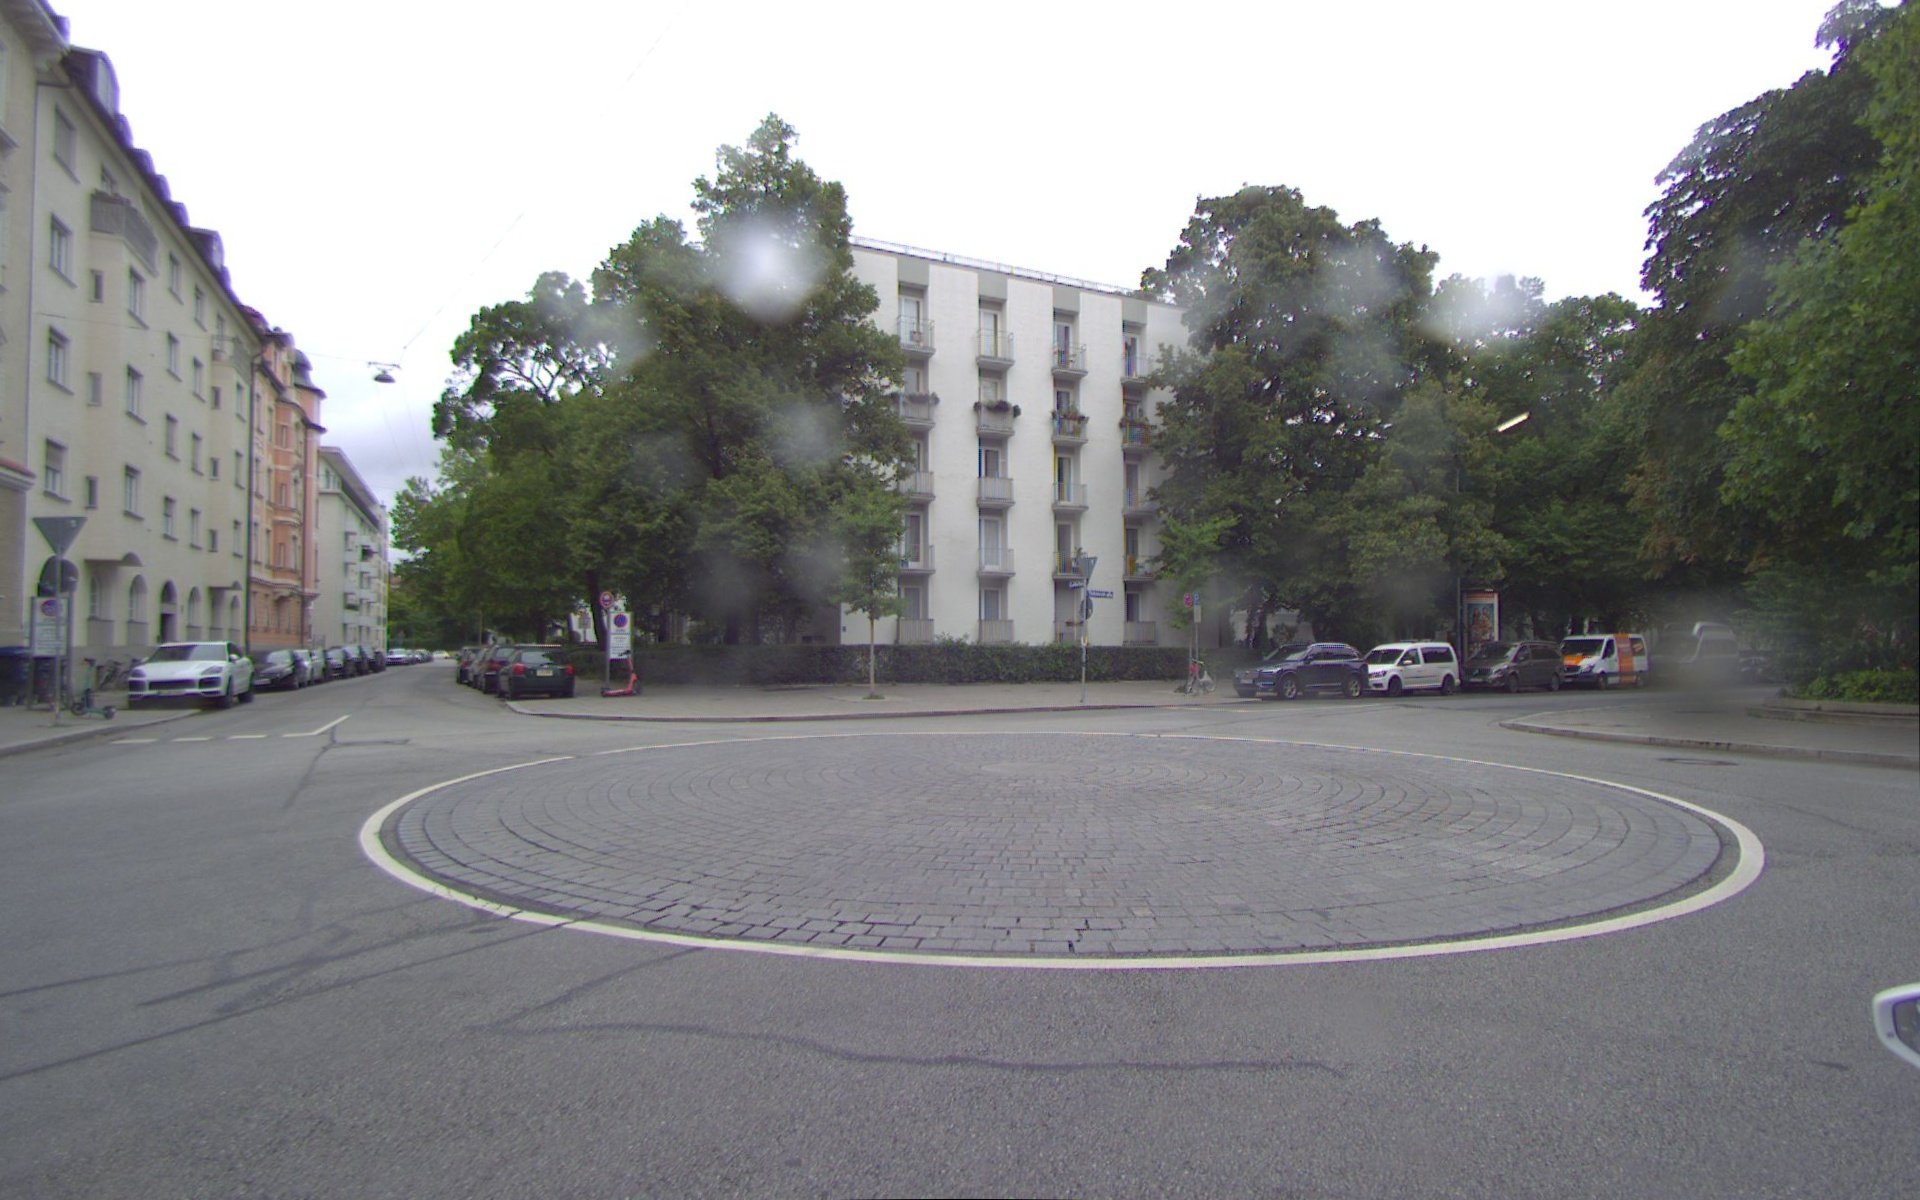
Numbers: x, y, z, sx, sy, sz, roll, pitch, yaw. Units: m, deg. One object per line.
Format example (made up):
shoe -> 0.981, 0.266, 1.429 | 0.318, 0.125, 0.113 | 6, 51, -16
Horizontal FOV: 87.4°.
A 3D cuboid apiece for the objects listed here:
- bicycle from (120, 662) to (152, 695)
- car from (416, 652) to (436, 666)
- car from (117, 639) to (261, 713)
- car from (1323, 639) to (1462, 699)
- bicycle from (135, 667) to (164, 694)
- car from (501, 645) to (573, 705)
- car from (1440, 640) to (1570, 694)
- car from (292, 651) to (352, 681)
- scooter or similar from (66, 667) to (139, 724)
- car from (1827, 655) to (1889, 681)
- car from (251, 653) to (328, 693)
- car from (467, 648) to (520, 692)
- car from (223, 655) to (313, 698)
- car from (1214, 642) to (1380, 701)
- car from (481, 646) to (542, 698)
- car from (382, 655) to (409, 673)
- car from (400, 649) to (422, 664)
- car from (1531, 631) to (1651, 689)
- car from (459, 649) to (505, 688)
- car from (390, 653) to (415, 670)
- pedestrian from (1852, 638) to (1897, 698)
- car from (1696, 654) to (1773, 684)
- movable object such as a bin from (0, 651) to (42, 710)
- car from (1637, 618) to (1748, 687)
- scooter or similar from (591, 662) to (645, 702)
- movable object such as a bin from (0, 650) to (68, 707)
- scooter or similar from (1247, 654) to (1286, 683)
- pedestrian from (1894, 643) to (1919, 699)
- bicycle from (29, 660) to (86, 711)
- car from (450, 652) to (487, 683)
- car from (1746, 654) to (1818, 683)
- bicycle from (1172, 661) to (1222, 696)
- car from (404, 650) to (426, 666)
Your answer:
bicycle -> -28.216, 2.668, 34.412 | 0.647, 1.083, 1.798 | 2, -3, -34
car -> -66.738, 7.382, 125.550 | 1.927, 1.659, 3.975 | 1, -3, -26
car -> -19.566, 1.876, 25.736 | 1.974, 1.697, 4.957 | 2, -3, -27
car -> 14.986, 2.348, 34.757 | 4.804, 1.928, 2.073 | 2, -3, -32
bicycle -> -29.721, 2.933, 36.829 | 0.647, 0.914, 1.798 | 2, -3, -34
car -> -12.209, 2.102, 28.898 | 1.654, 1.548, 3.652 | -1, -2, -27
car -> 20.867, 2.561, 38.390 | 5.609, 1.932, 2.014 | 2, -5, -35
car -> -30.688, 3.157, 48.443 | 1.974, 1.393, 4.153 | 2, -3, -27
scooter or similar -> -17.785, 1.967, 20.834 | 1.320, 1.123, 0.542 | -1, -3, 20
car -> 54.429, 4.081, 60.856 | 4.090, 1.506, 1.980 | 2, -3, -36
car -> -26.295, 2.822, 39.534 | 1.974, 1.468, 4.153 | 2, -3, -27
car -> -17.406, 2.559, 37.431 | 1.654, 1.476, 3.652 | -1, -2, -27
car -> -24.177, 2.644, 35.261 | 1.974, 1.376, 4.449 | 2, -3, -27
car -> 10.695, 2.232, 31.811 | 5.243, 1.741, 2.074 | 2, -3, -31
car -> -14.923, 2.355, 33.355 | 1.654, 1.548, 3.652 | -1, -2, -27
car -> -52.037, 5.897, 92.664 | 1.927, 1.659, 3.975 | 1, -3, -26
car -> -63.109, 6.460, 115.457 | 1.927, 1.659, 3.975 | 1, -3, -26
car -> 26.581, 2.540, 42.254 | 5.542, 2.294, 2.073 | 2, -5, -33
car -> -20.066, 2.821, 42.086 | 1.654, 1.476, 3.652 | -1, -2, -27
car -> -55.749, 6.149, 100.489 | 1.927, 1.659, 3.975 | 1, -3, -26
pedestrian -> 28.749, 2.131, 31.607 | 0.808, 1.860, 0.950 | -1, -3, 30
car -> 38.773, 3.423, 50.264 | 3.962, 1.438, 1.980 | 2, -3, -36
movable object such as a bin -> -23.236, 1.933, 24.304 | 1.132, 1.389, 1.174 | 1, -3, -24
car -> 34.189, 2.441, 46.844 | 6.168, 3.041, 2.160 | 2, -3, -34
scooter or similar -> -9.383, 2.238, 27.588 | 1.300, 1.037, 0.523 | 2, -3, -38
movable object such as a bin -> -23.645, 1.973, 25.508 | 1.132, 1.389, 1.174 | 1, -3, -24
scooter or similar -> 12.984, 2.890, 42.562 | 1.641, 1.206, 0.697 | 2, -3, -35
pedestrian -> 28.887, 2.146, 30.513 | 0.625, 1.689, 0.695 | -2, -3, 35
bicycle -> -20.326, 1.902, 22.655 | 0.647, 1.083, 1.958 | 2, -3, -34
car -> -25.413, 3.471, 51.932 | 1.654, 1.476, 3.652 | -1, -2, -27
car -> 43.469, 3.609, 53.105 | 4.090, 1.438, 1.980 | 2, -3, -36
bicycle -> 7.841, 2.587, 33.151 | 1.772, 1.099, 0.744 | 3, -4, -43
car -> -59.437, 6.308, 109.577 | 1.927, 1.659, 3.975 | 1, -3, -26
